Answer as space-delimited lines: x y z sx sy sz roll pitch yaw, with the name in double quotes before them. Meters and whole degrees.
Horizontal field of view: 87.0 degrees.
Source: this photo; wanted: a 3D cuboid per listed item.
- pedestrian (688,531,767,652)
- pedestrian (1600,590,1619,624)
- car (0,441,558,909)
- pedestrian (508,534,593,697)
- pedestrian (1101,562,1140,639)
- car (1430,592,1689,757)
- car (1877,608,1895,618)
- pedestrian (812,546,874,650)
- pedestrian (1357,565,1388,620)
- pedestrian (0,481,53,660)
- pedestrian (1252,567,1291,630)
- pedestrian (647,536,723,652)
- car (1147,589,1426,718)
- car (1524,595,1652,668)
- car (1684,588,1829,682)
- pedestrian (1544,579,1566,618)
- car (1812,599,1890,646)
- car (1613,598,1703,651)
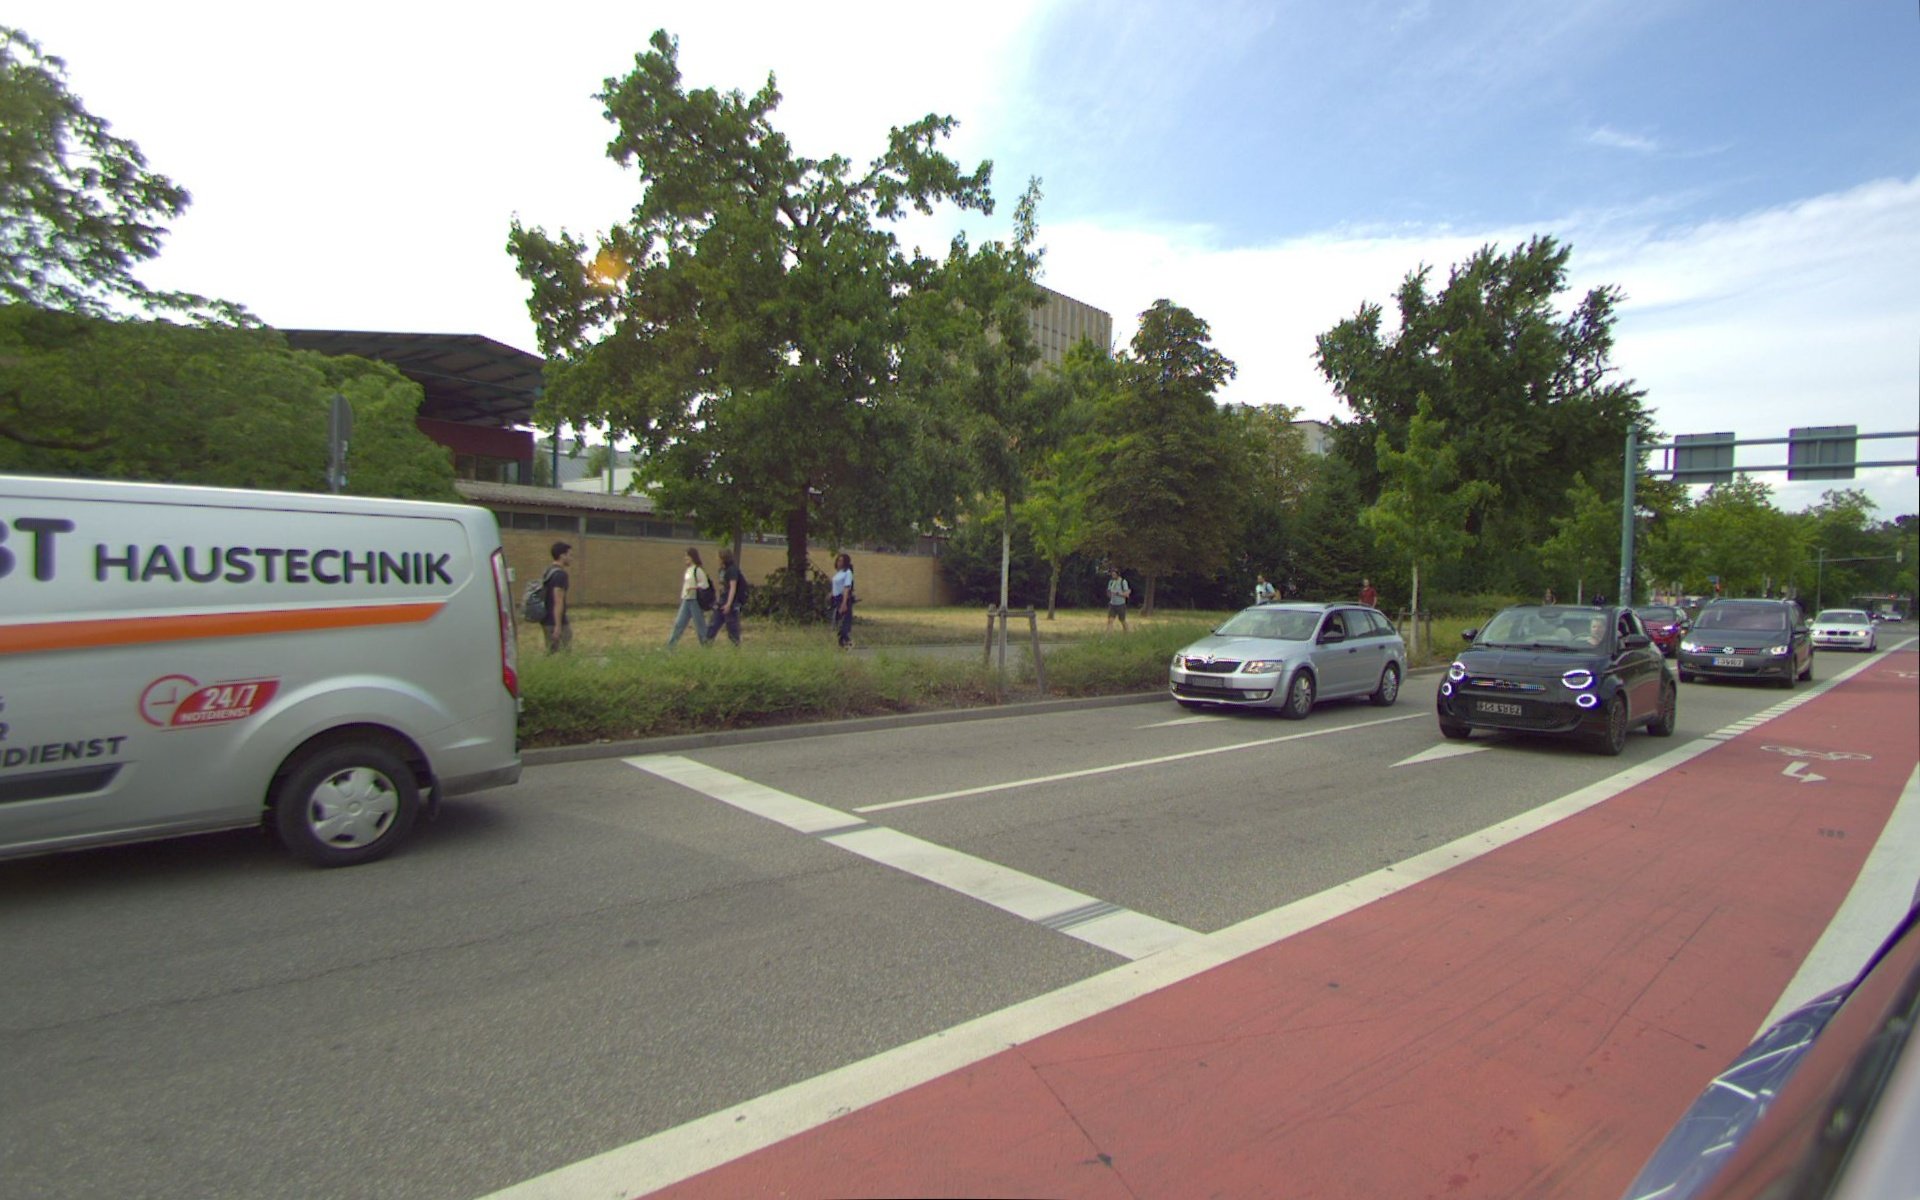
"pedestrian" -3.471 -0.127 15.125 0.833 1.732 0.791 0 0 31
"pedestrian" 33.577 0.345 52.296 0.683 1.732 0.713 0 0 -44
"car" -4.822 0.314 4.832 5.120 1.984 1.820 -1 0 -45
"pedestrian" -4.550 0.161 11.246 0.681 1.732 0.733 0 0 -41
"pedestrian" 3.712 0.002 23.363 0.543 1.716 0.684 4 3 42
"car" 6.721 0.682 11.222 3.385 1.508 1.667 -1 1 -45
"car" 164.827 2.326 180.114 3.930 1.594 1.997 -1 0 -41
"pedestrian" -2.013 -0.040 17.422 0.712 1.732 0.787 0 0 42
"pedestrian" 13.227 -0.235 32.468 0.683 1.732 0.713 0 0 -44
"pedestrian" -10.088 -0.303 10.655 0.786 1.831 0.838 0 0 -41
"pedestrian" 8.730 -0.057 28.398 0.839 1.732 0.684 0 0 43
"pedestrian" -4.256 -0.090 15.658 0.833 1.732 0.791 0 0 31
"car" 4.610 0.597 13.905 4.454 1.493 1.820 -1 1 -45
"car" 14.459 0.650 23.229 3.812 1.508 1.667 -1 0 -45
"car" 16.091 0.599 20.357 4.609 1.671 1.755 -1 0 -45
"pedestrian" 27.011 -0.084 45.919 0.683 1.732 0.713 0 0 -44
"car" 30.706 0.718 34.832 4.155 1.476 1.756 -1 0 -45
"car" 20.523 0.682 29.724 1.666 1.433 3.403 0 0 44
